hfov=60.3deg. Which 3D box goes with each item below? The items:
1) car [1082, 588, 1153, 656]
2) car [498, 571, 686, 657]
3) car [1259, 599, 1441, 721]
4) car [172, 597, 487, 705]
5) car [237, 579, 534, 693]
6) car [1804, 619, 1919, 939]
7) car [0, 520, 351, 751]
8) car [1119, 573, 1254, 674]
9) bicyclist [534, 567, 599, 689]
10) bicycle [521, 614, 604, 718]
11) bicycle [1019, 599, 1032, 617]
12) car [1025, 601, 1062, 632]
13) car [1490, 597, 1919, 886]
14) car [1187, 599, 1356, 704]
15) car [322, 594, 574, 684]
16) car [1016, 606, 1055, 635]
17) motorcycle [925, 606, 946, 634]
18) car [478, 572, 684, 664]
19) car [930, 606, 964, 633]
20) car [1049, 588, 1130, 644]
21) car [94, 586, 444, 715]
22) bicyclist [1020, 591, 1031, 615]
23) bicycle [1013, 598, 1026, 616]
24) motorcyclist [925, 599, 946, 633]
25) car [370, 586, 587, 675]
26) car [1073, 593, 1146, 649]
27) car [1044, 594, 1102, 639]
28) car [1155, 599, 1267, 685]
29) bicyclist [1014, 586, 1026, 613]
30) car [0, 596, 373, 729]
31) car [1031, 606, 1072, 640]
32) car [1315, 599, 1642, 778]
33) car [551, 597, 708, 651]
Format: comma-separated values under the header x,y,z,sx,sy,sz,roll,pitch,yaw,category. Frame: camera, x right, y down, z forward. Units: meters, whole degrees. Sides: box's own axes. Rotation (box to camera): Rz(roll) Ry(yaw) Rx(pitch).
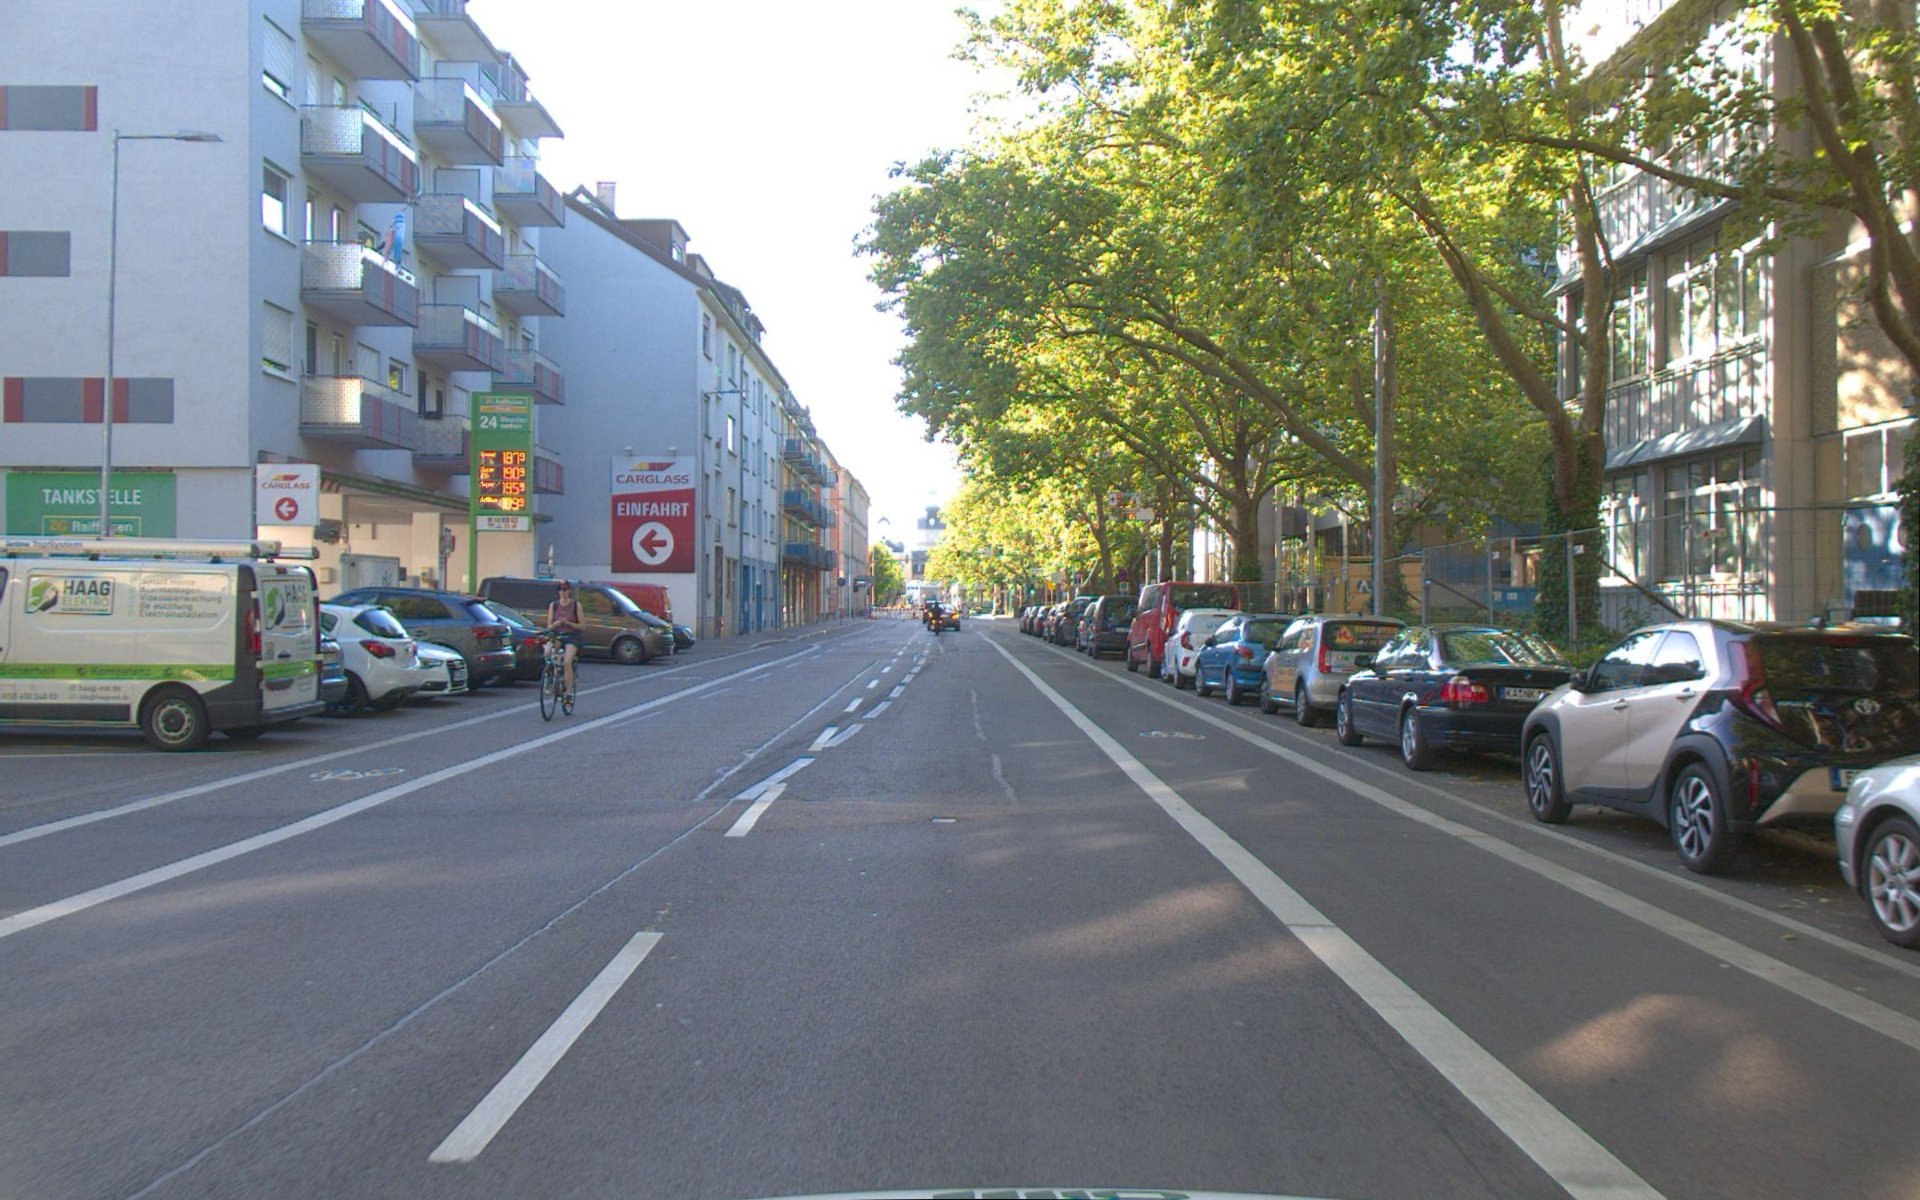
x,y,z,sx,sy,sz,roll,pitch,yaw,category
4.536,0.625,48.182,1.658,1.844,4.130,2,0,1,car
-9.503,0.348,42.956,4.331,1.986,2.146,2,0,-1,car
5.342,0.772,23.054,1.581,1.501,3.492,2,0,-2,car
-9.215,0.722,24.425,3.906,1.458,1.852,1,0,-1,car
-9.288,0.575,27.029,4.109,1.713,2.027,1,0,-1,car
5.352,0.837,6.316,1.817,1.462,4.601,1,0,-1,car
-9.341,0.334,17.747,4.746,2.255,2.139,2,-1,-1,car
4.946,0.495,36.911,2.036,2.029,5.168,2,0,-3,car
-5.237,0.368,22.047,0.594,1.572,0.934,-2,0,-1,bicyclist
-5.214,0.837,21.811,0.594,1.261,2.049,-2,0,-1,bicycle
4.283,0.525,108.360,0.643,1.131,2.185,1,-1,-1,bicycle
4.258,0.837,84.942,1.658,1.492,4.065,2,0,0,car
5.230,0.792,11.156,1.817,1.549,4.295,1,0,-1,car
5.079,0.797,27.473,1.818,1.537,3.926,2,0,-3,car
-9.123,0.680,29.722,3.906,1.481,1.916,1,0,-1,car
4.097,1.087,90.473,1.659,1.475,4.433,2,0,-3,car
-1.183,0.970,79.755,0.991,1.329,2.672,0,0,-1,motorcycle
-9.136,0.425,40.165,4.430,1.986,2.056,2,0,-1,car
-0.742,1.060,92.337,1.791,1.445,3.814,0,0,-1,car
4.598,0.551,59.564,1.791,1.873,4.889,2,0,-9,car
-9.216,0.650,22.298,3.906,1.586,1.852,1,0,-1,car
4.288,0.186,108.474,0.643,1.557,0.906,1,-1,-1,bicyclist
3.594,0.422,99.886,0.643,1.089,1.926,1,-1,-1,bicycle
-1.187,0.772,79.756,0.992,1.630,1.405,0,0,-2,motorcyclist
-9.273,0.586,32.071,3.610,1.540,1.830,2,-1,-1,car
4.723,0.647,52.789,1.659,1.656,4.327,2,0,-3,car
4.404,0.648,64.995,1.740,1.656,4.618,2,0,-2,car
4.799,0.773,31.997,1.604,1.511,3.760,2,0,1,car
3.604,-0.032,99.882,0.643,1.557,0.851,1,-1,-1,bicyclist
-9.420,0.730,20.054,3.906,1.458,1.852,1,0,-1,car
4.351,1.089,79.319,1.658,1.505,4.317,2,0,-1,car
5.163,0.797,17.182,1.817,1.549,4.597,2,0,-1,car
-9.600,0.692,48.327,4.142,1.404,2.045,2,-1,-1,car
